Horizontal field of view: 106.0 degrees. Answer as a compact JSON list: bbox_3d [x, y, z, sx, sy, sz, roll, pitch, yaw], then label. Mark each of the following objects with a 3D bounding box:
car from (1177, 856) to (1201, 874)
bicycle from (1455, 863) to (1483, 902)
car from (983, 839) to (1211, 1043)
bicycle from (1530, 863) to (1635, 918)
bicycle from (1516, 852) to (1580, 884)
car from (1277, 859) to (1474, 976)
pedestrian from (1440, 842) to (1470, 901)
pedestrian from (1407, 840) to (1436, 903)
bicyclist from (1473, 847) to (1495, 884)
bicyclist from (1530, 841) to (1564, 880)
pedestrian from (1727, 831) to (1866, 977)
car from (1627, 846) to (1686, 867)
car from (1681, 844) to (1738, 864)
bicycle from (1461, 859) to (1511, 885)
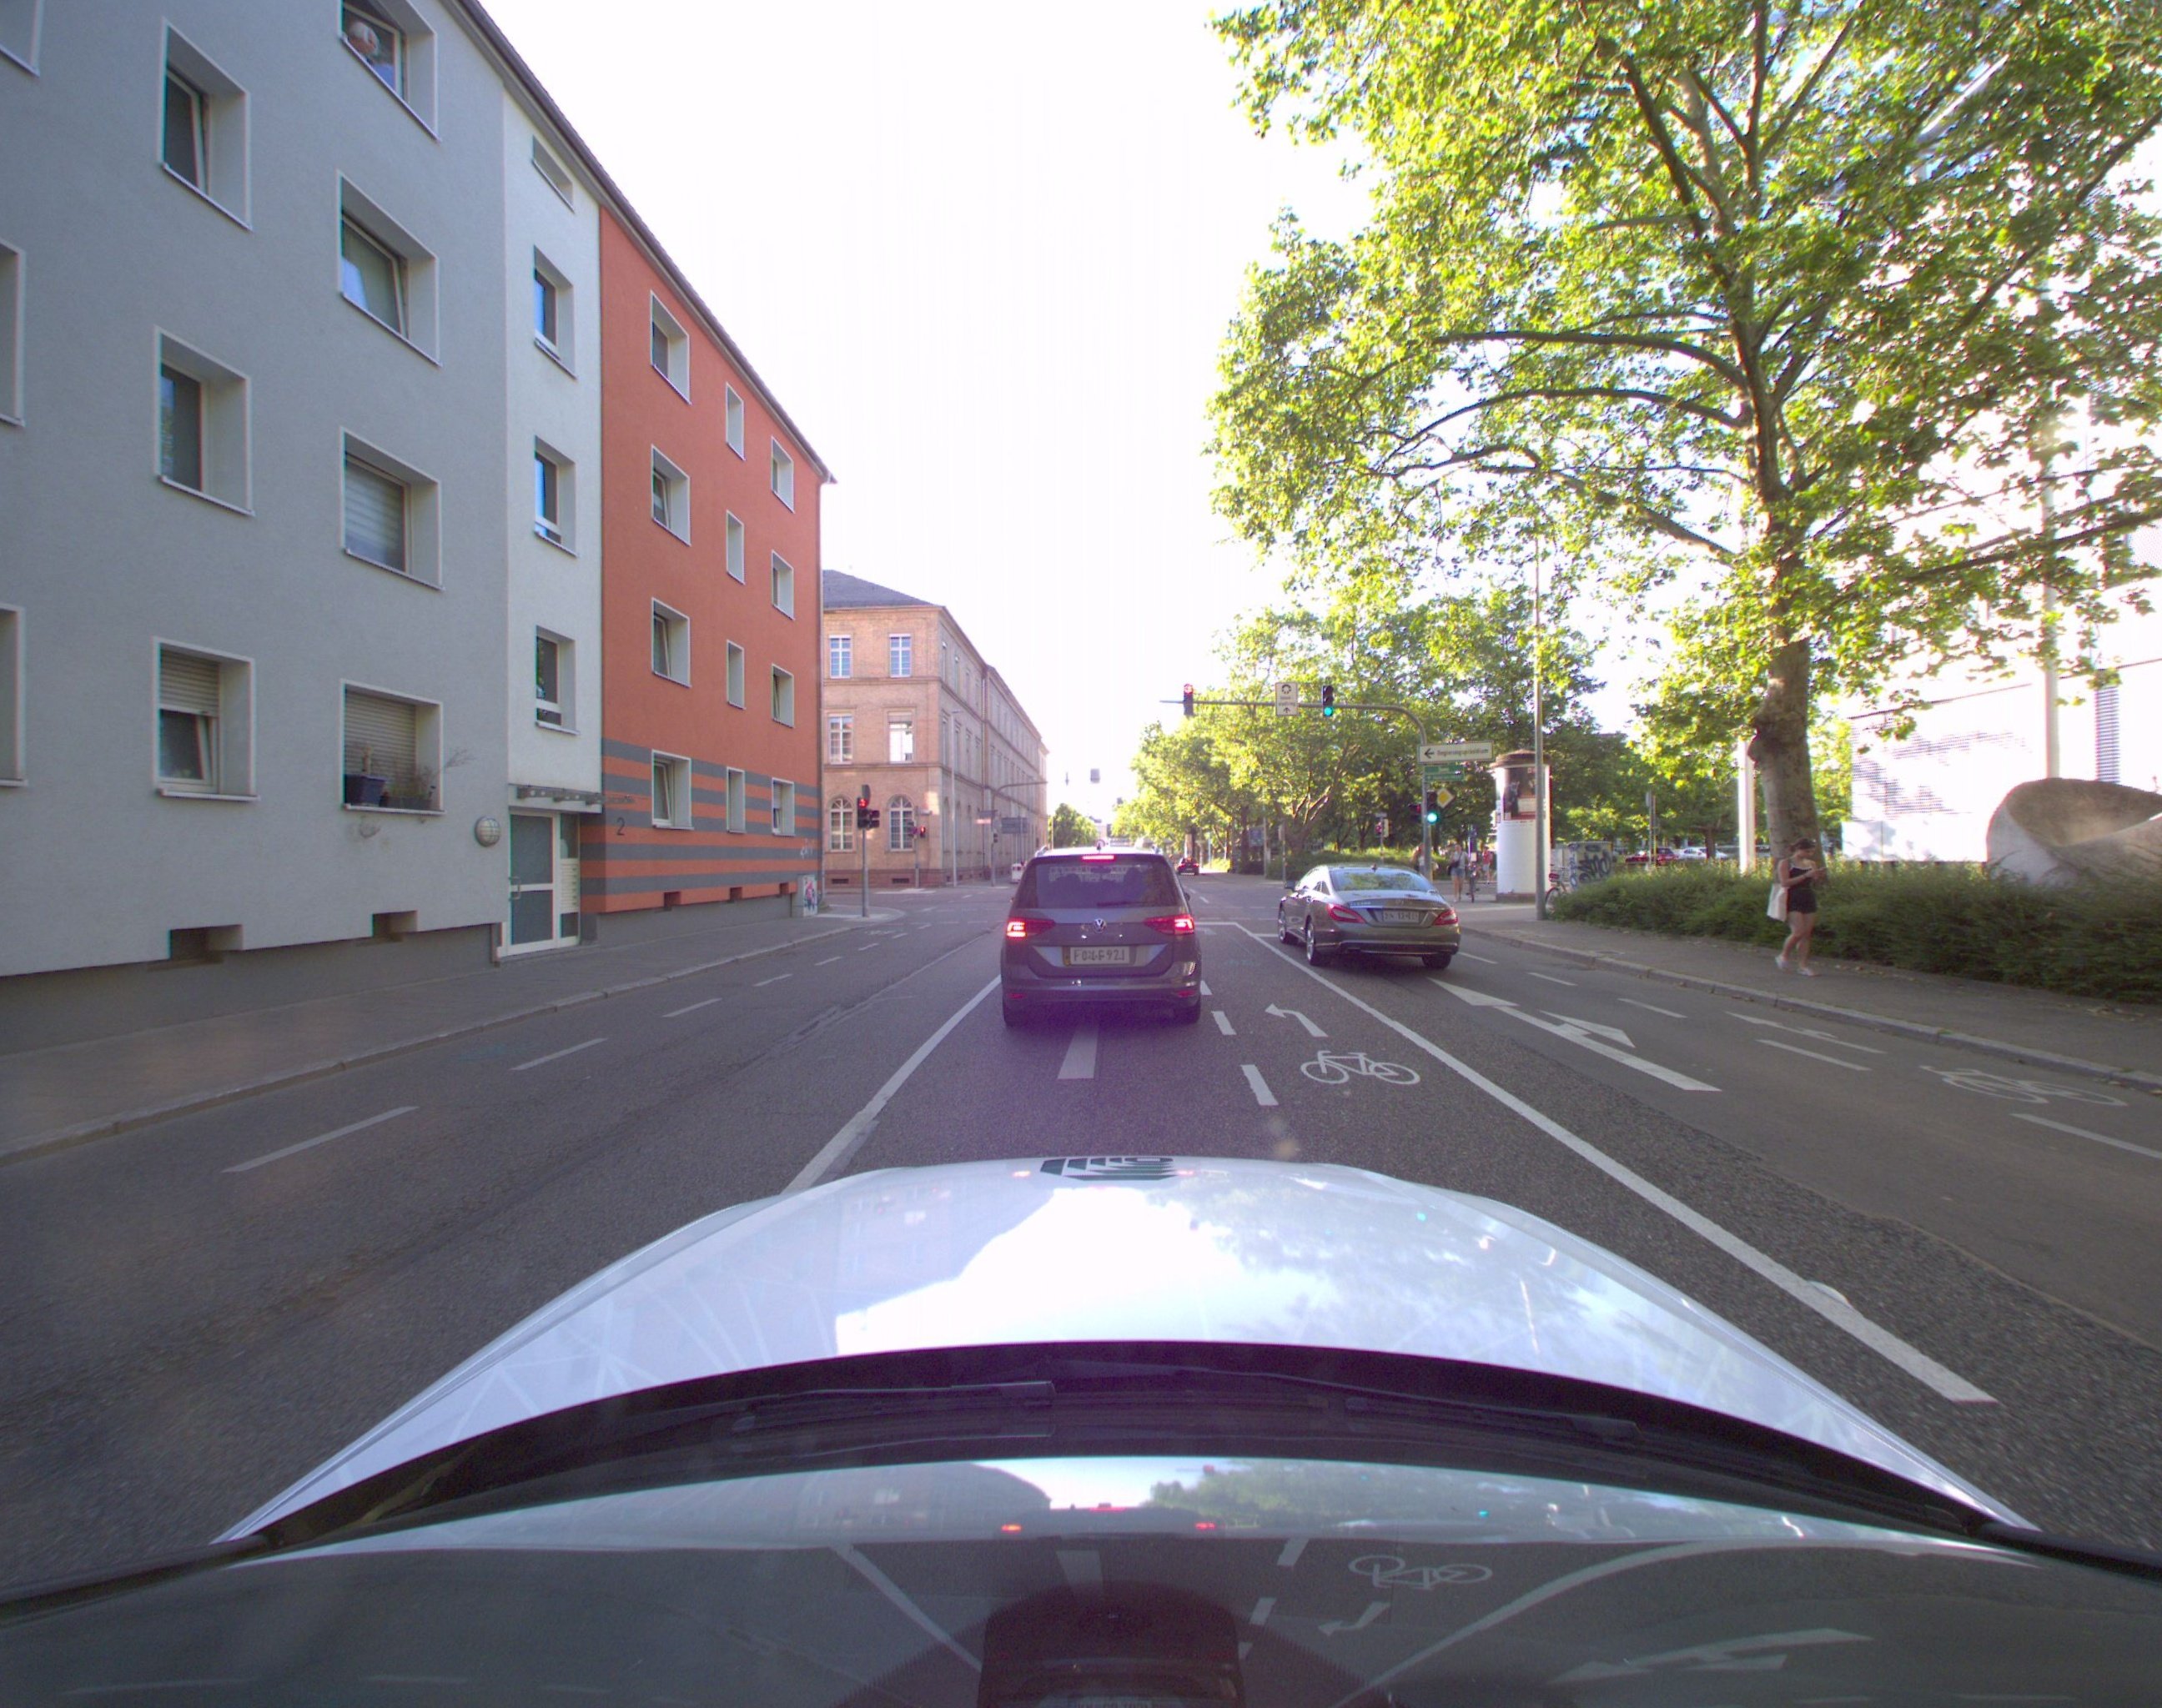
[{"bbox_3d":[9.043,0.914,68.352,1.682,1.440,3.906,2,0,4],"label":"car"},{"bbox_3d":[11.324,0.804,23.794,0.520,1.100,1.749,0,-1,19],"label":"bicycle"},{"bbox_3d":[0.281,0.718,8.551,1.801,1.612,4.005,-1,-1,4],"label":"car"},{"bbox_3d":[11.057,0.793,17.992,1.968,1.190,0.528,0,-1,1],"label":"bicycle"},{"bbox_3d":[19.789,0.589,34.548,2.279,1.326,0.661,0,-1,3],"label":"bicycle"},{"bbox_3d":[4.184,0.799,12.353,1.833,1.429,4.526,0,0,7],"label":"car"},{"bbox_3d":[10.970,0.513,23.894,0.678,1.697,0.975,0,-1,17],"label":"pedestrian"},{"bbox_3d":[10.138,0.520,24.243,0.725,1.808,0.914,-2,-2,23],"label":"pedestrian"},{"bbox_3d":[18.785,0.526,38.001,0.707,1.697,0.676,0,-1,3],"label":"bicyclist"},{"bbox_3d":[19.776,0.270,34.580,0.959,1.615,0.871,0,-1,5],"label":"bicyclist"},{"bbox_3d":[8.521,0.576,9.743,0.794,1.630,0.908,-3,-1,4],"label":"pedestrian"},{"bbox_3d":[40.744,0.176,57.767,1.623,1.482,3.797,0,0,2],"label":"car"},{"bbox_3d":[48.469,0.026,62.850,1.566,1.468,3.797,0,0,2],"label":"car"},{"bbox_3d":[18.865,0.825,37.999,2.022,1.220,0.600,0,-1,2],"label":"bicycle"}]
